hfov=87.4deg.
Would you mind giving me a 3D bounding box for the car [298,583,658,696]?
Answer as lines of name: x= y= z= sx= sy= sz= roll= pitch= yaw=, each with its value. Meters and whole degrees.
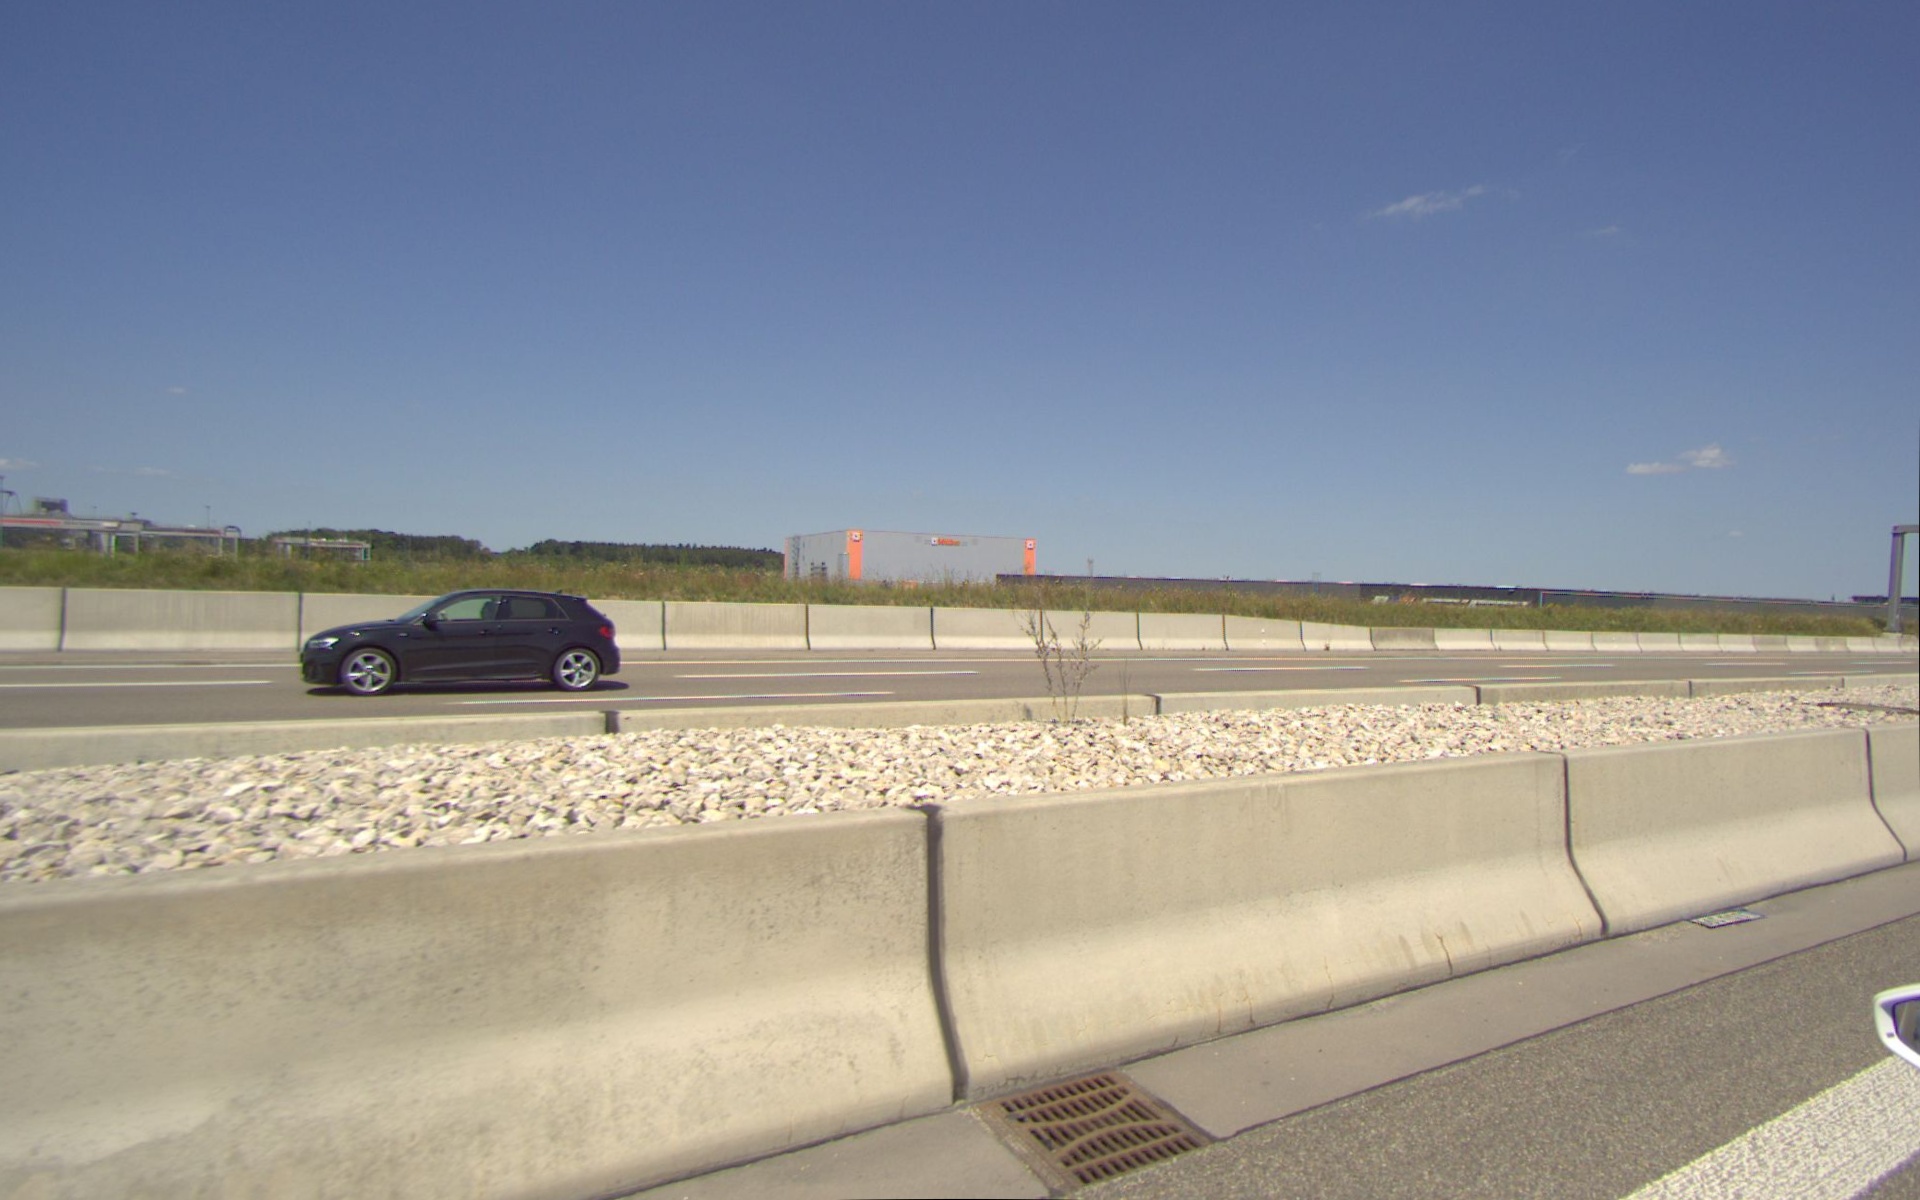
car: x=-6.716 y=0.528 z=14.292 sx=4.310 sy=1.397 sz=1.985 roll=2 pitch=0 yaw=-29
